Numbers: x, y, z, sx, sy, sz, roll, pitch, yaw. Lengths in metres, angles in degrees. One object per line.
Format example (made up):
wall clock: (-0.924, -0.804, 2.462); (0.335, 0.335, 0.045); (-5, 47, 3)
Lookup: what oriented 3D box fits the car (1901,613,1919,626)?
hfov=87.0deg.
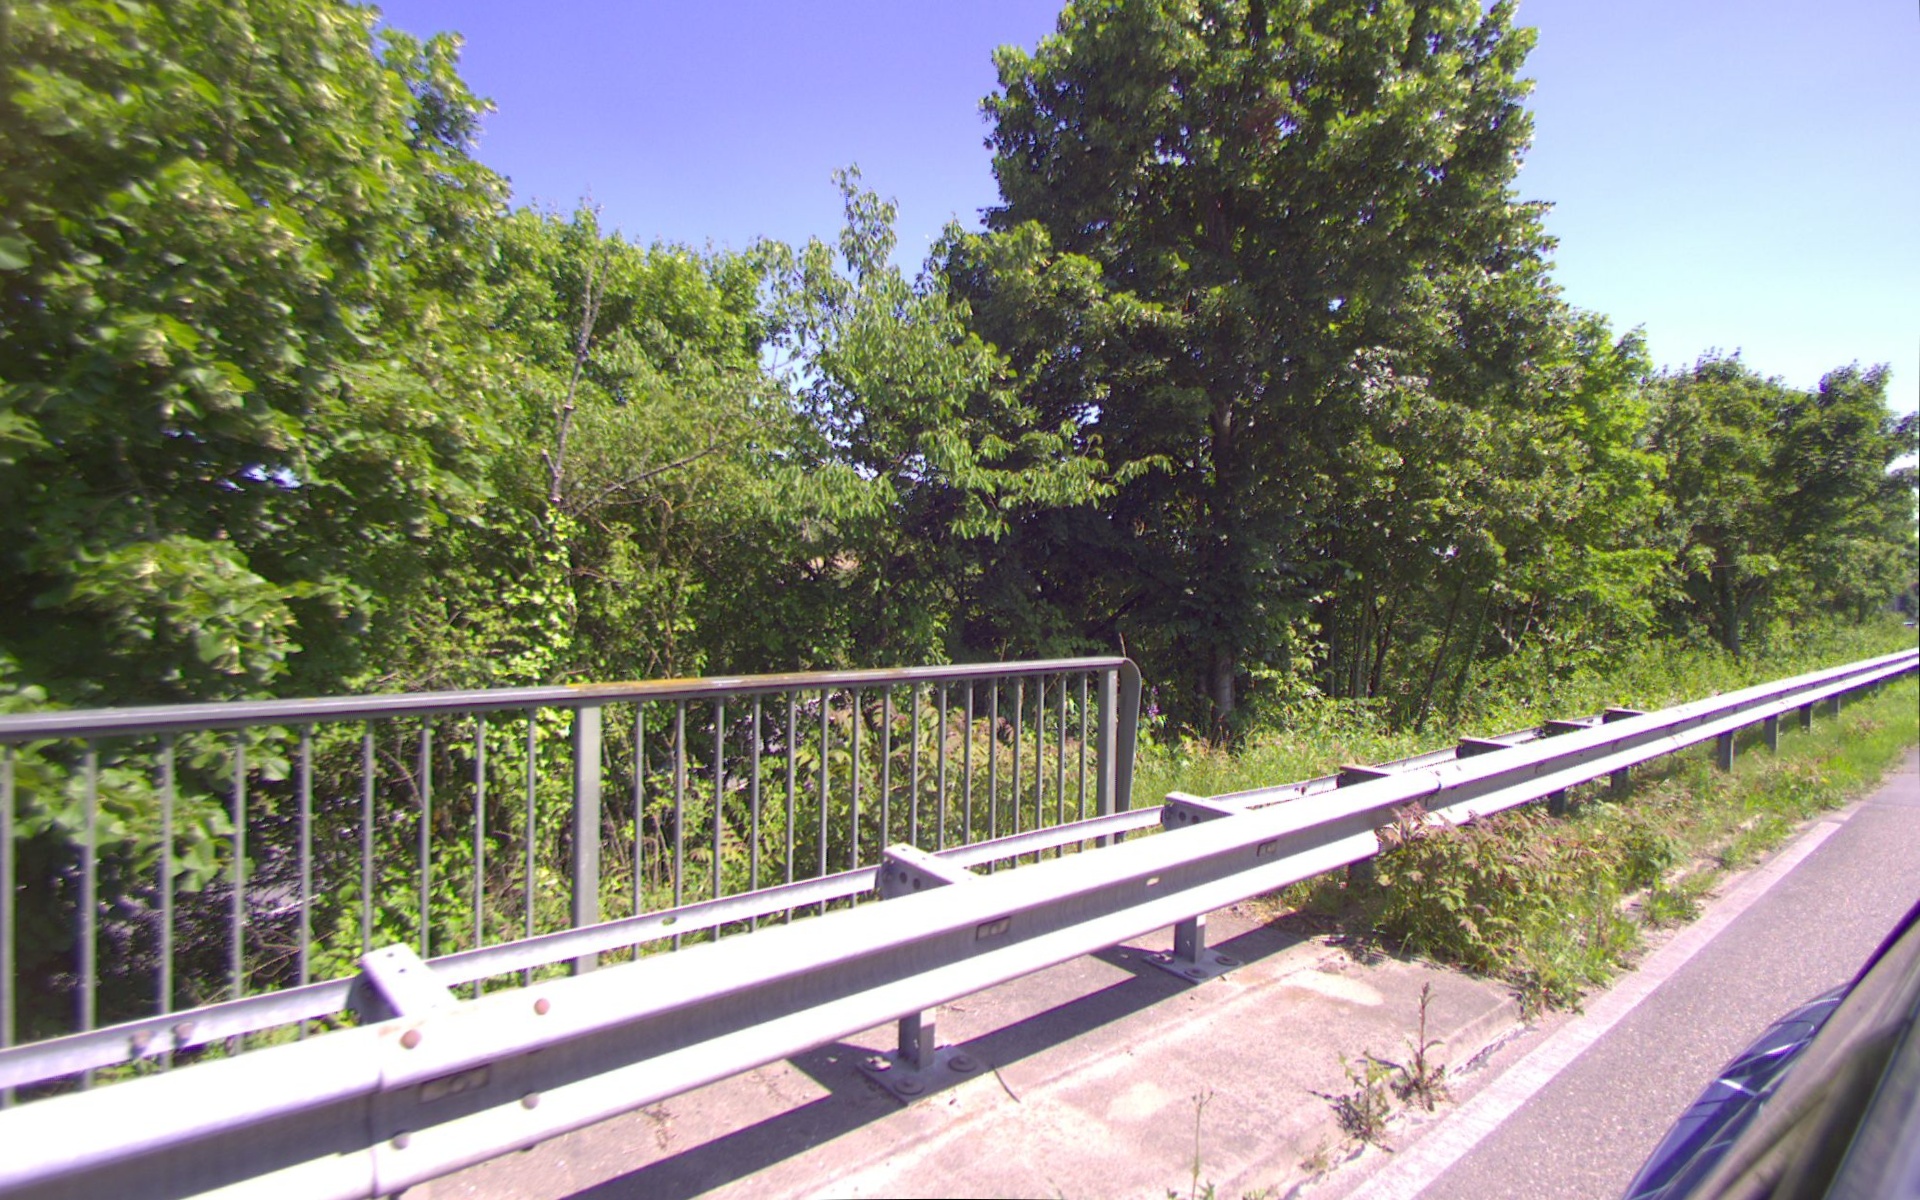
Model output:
car: (116.889, 2.410, 123.456); (1.725, 1.474, 3.860); (3, 2, 22)
